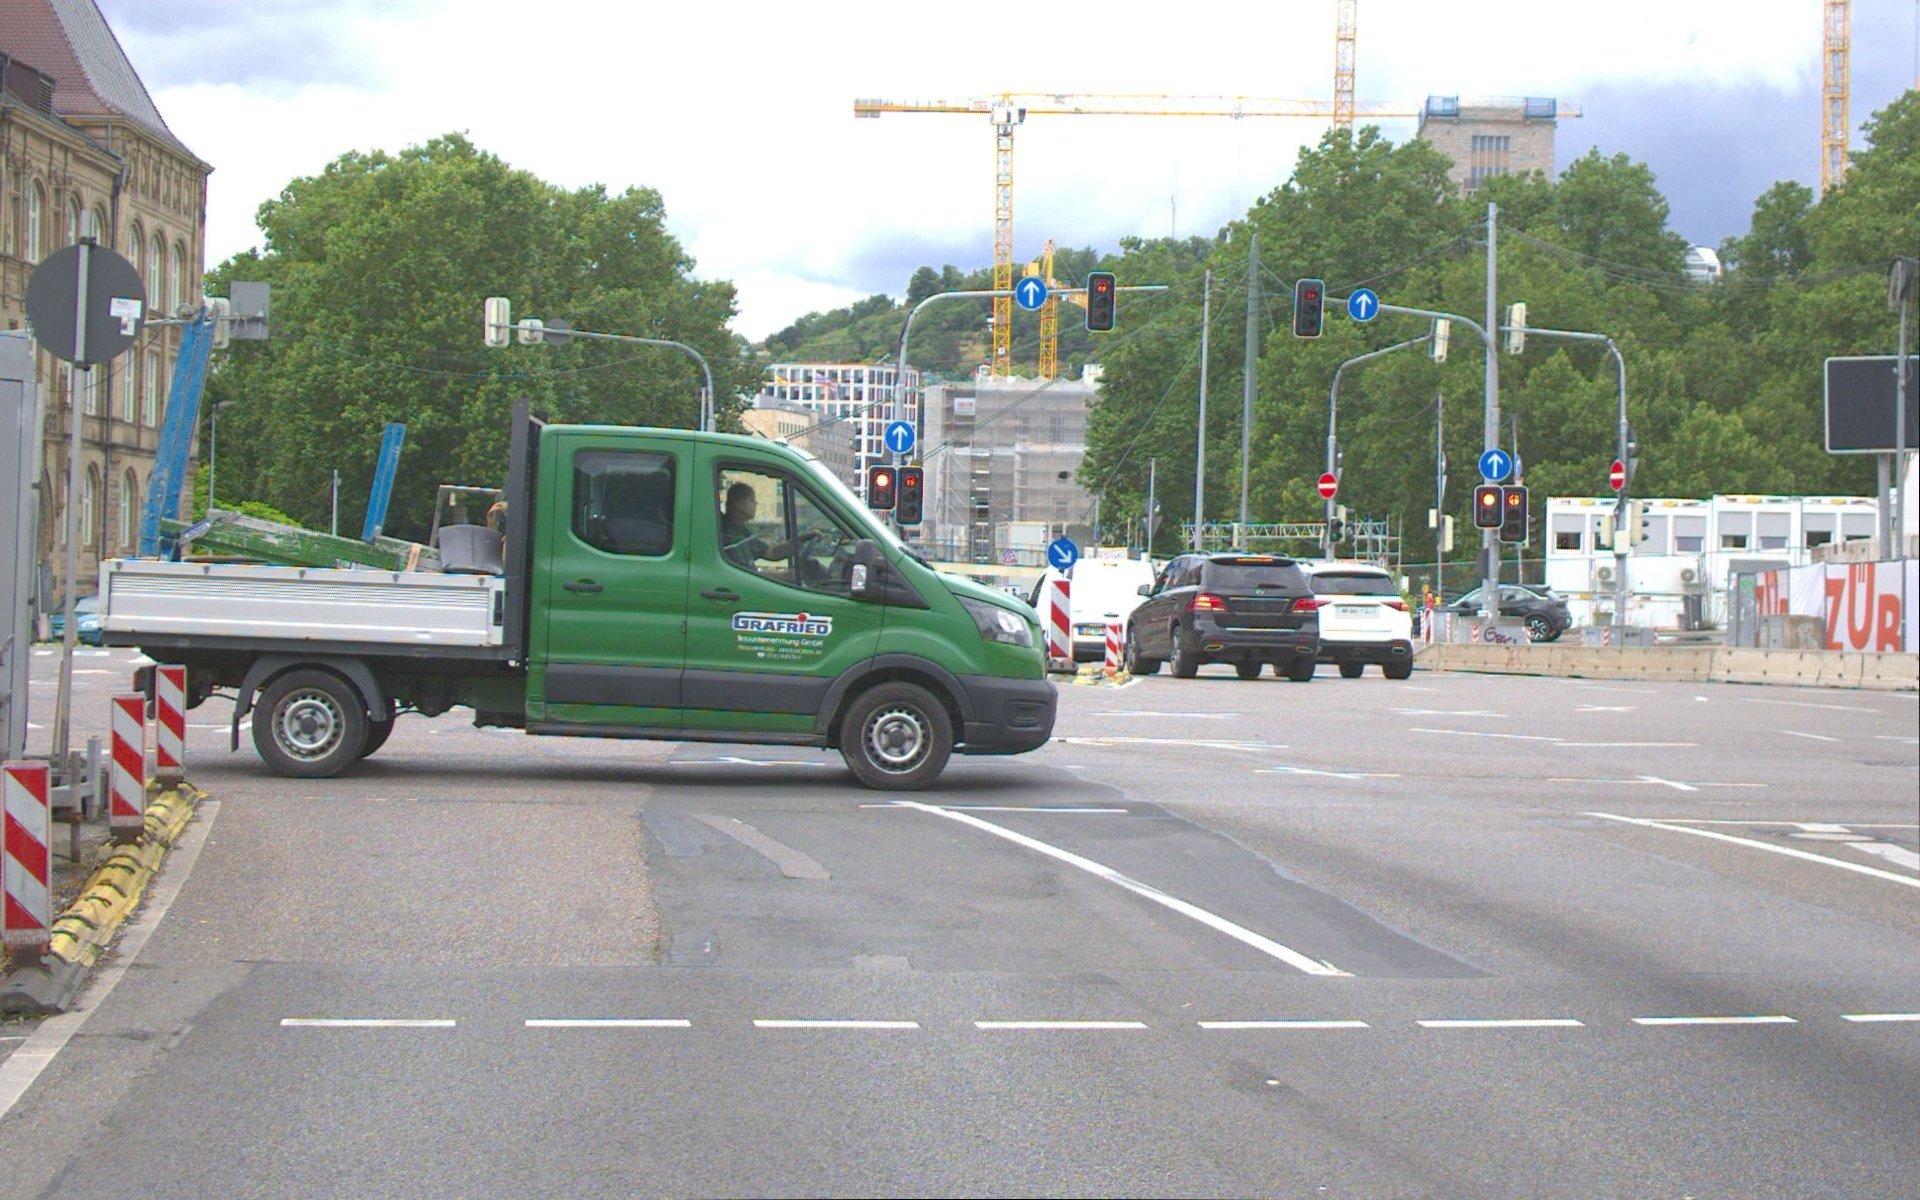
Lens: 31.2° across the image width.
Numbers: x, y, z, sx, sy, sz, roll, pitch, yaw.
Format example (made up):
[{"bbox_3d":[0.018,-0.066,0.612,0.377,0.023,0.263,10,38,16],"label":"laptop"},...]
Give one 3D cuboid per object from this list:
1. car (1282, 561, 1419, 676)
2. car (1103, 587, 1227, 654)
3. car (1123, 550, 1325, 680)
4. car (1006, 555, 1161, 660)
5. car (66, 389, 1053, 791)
[{"bbox_3d":[5.993,0.262,53.062,1.676,1.696,3.374,1,1,-1],"label":"car"},{"bbox_3d":[4.511,0.441,76.004,1.675,1.393,3.087,1,1,-19],"label":"car"},{"bbox_3d":[3.667,0.180,48.496,1.831,1.740,4.257,1,1,-10],"label":"car"},{"bbox_3d":[1.958,0.094,55.542,1.816,1.619,4.001,1,1,-8],"label":"car"},{"bbox_3d":[-2.426,-0.058,21.420,5.757,2.297,2.304,1,0,-5],"label":"car"}]
